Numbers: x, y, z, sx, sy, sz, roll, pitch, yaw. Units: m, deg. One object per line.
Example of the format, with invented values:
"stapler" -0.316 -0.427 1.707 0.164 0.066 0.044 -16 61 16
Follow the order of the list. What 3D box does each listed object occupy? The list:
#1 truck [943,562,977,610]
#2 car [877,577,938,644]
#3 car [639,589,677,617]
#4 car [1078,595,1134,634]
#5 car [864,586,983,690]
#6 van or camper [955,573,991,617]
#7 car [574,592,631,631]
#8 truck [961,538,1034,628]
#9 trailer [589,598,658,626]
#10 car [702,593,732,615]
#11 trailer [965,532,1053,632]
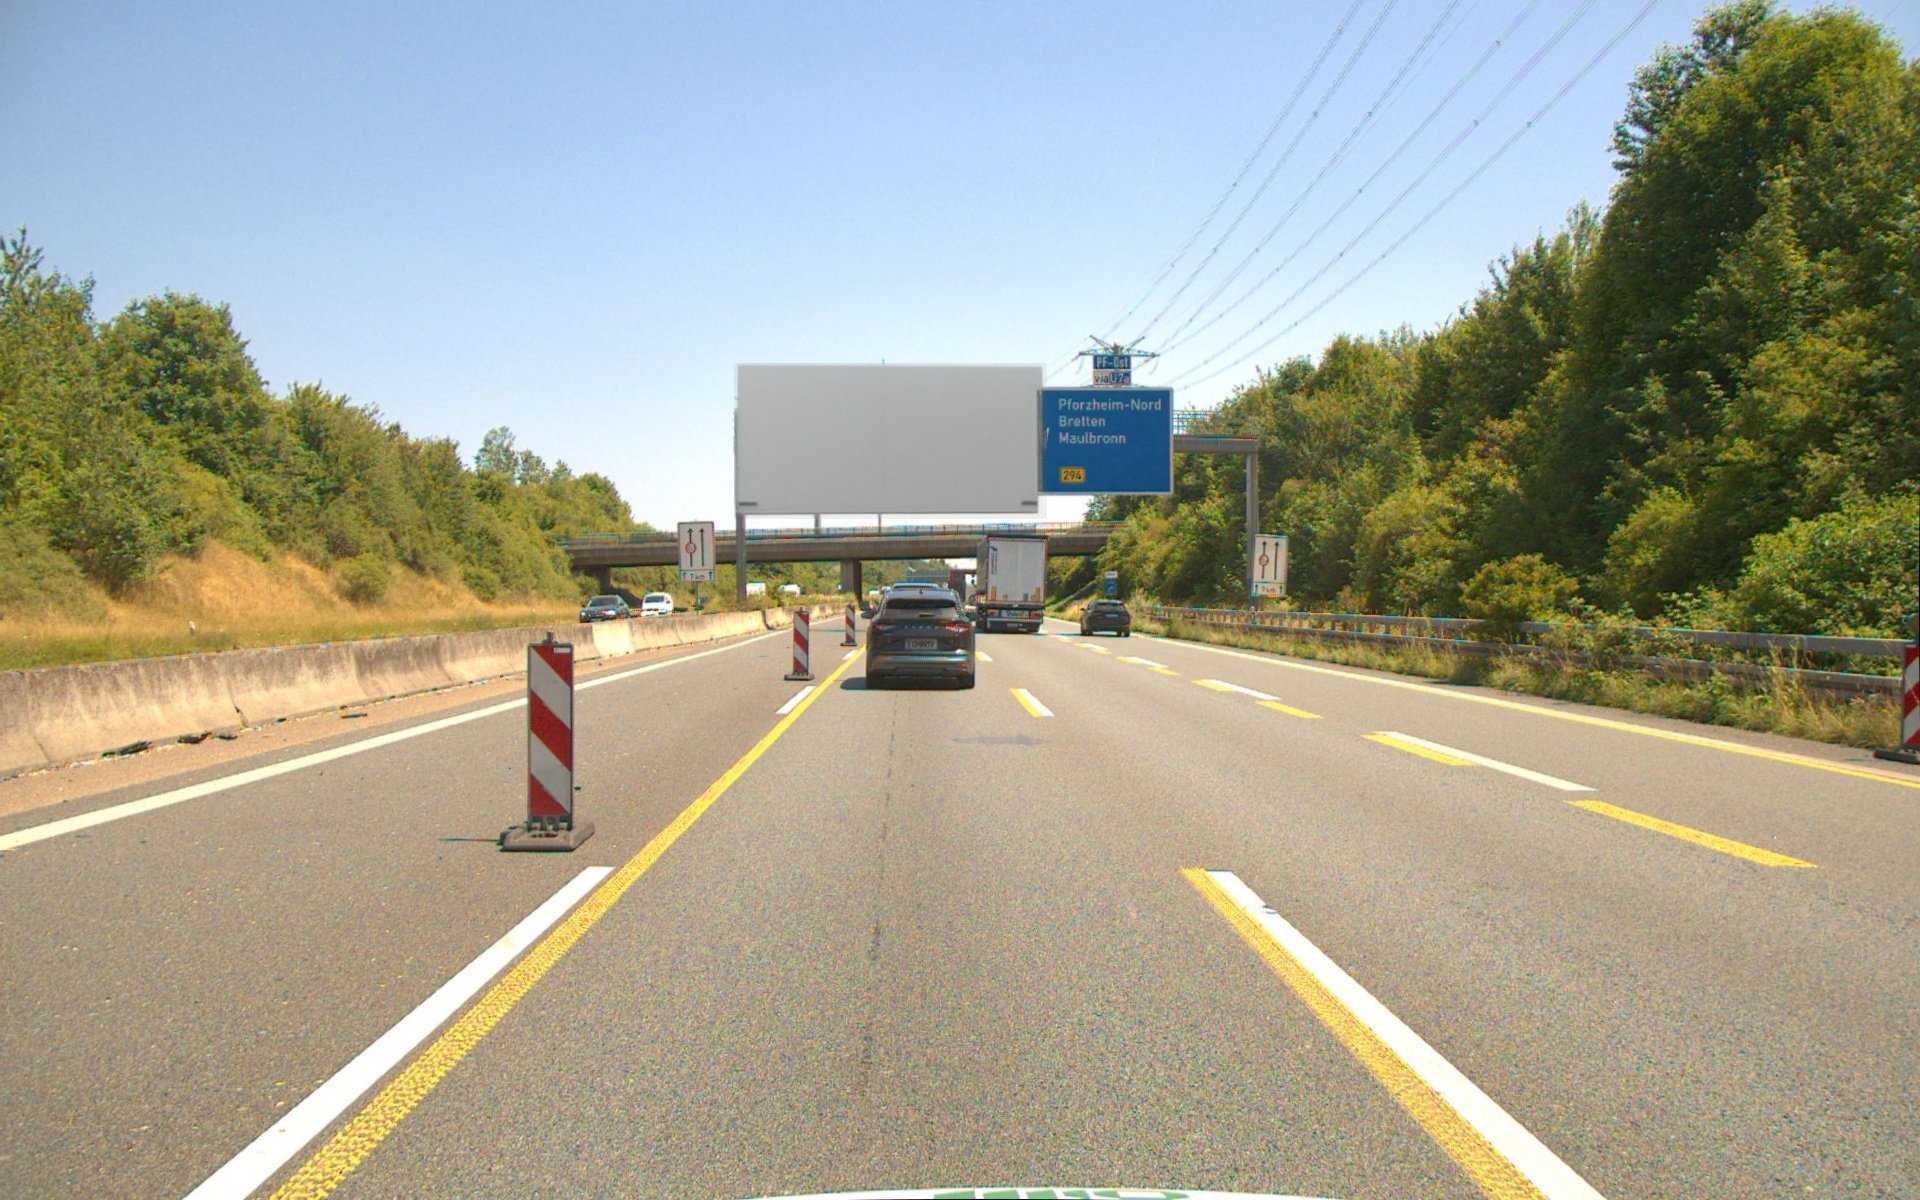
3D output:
"truck" -0.042 -1.254 154.898 3.015 4.219 13.052 1 0 0
"car" -1.738 0.313 54.537 1.858 1.873 4.442 3 3 -2
"car" -22.328 0.214 122.557 1.891 2.049 5.594 -1 0 -2
"car" 5.937 0.582 67.859 1.743 1.515 4.462 1 0 -2
"car" -0.666 0.578 28.319 1.857 1.620 4.440 0 1 -2
"van or camper" 0.898 -0.357 118.755 2.534 3.020 6.084 0 0 0
"car" -17.307 0.539 80.320 1.875 1.784 4.564 1 0 -2
"truck" 1.741 -0.808 80.632 2.964 4.159 7.791 1 0 -3
"trailer" -17.456 0.572 86.253 2.308 1.367 7.214 -1 0 -2
"car" -19.912 0.331 135.553 1.834 1.724 4.497 -1 0 -1
"trailer" 2.061 -0.779 73.915 3.004 4.113 11.481 0 0 -3
